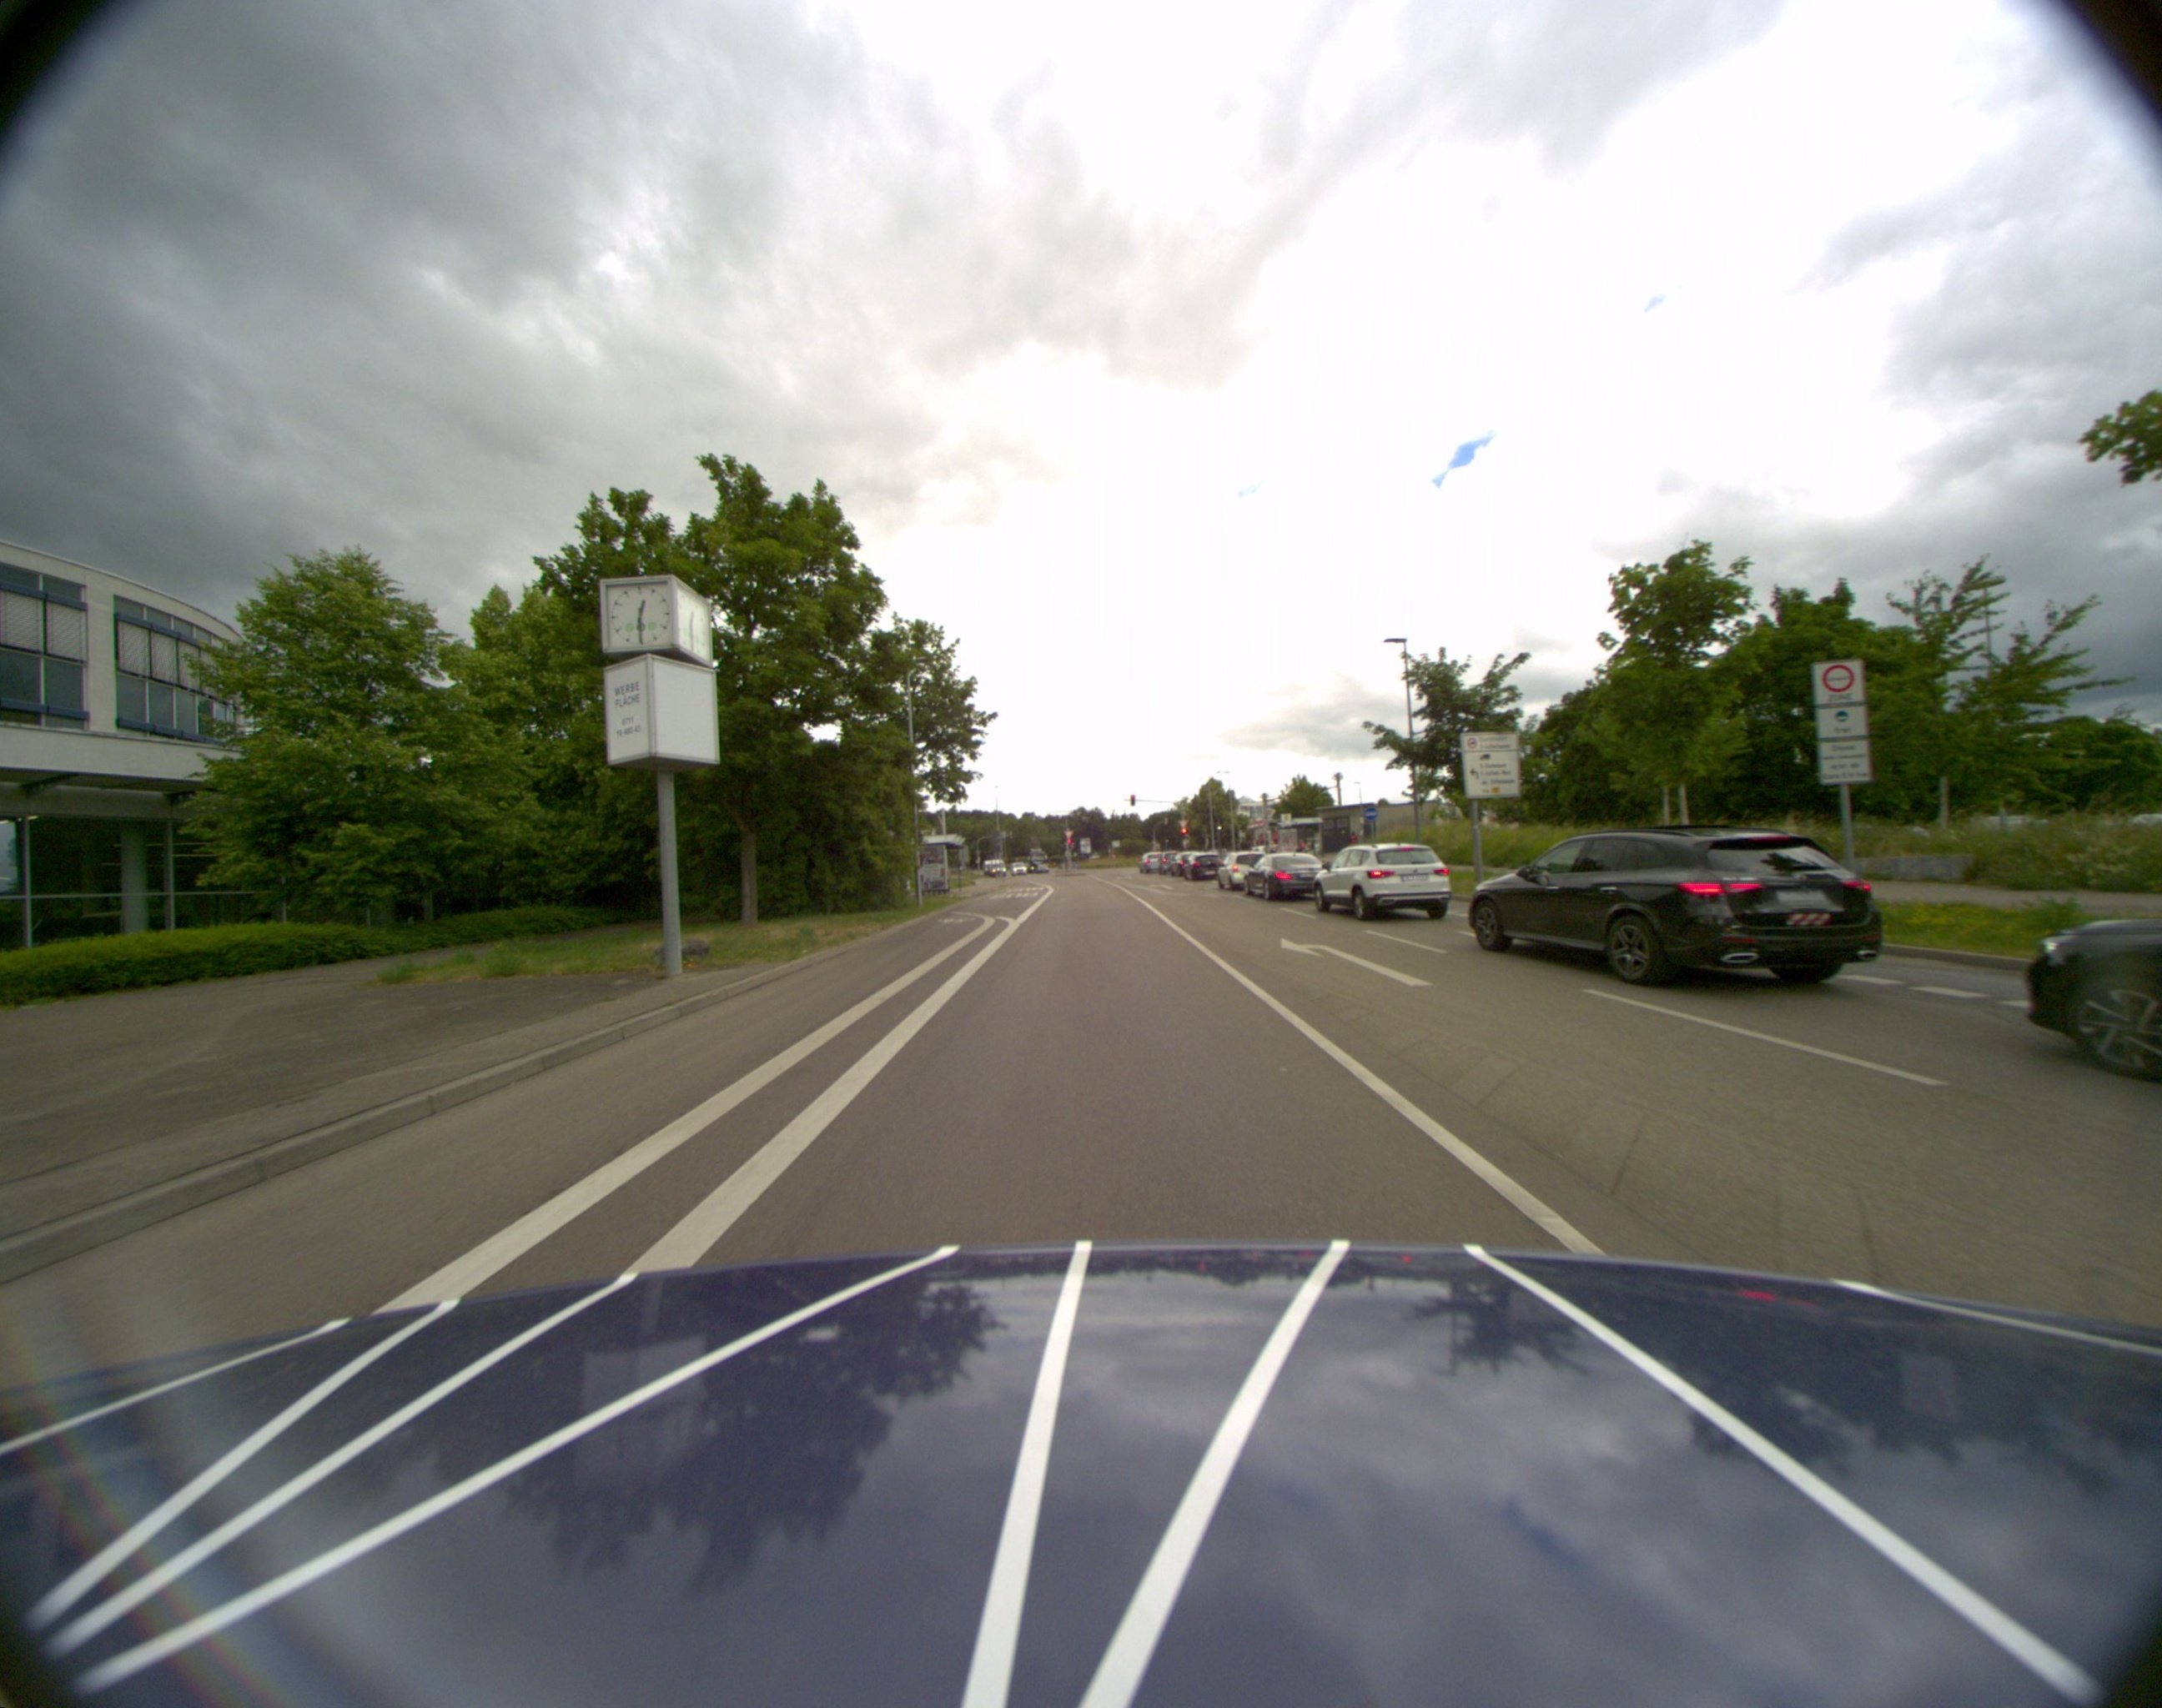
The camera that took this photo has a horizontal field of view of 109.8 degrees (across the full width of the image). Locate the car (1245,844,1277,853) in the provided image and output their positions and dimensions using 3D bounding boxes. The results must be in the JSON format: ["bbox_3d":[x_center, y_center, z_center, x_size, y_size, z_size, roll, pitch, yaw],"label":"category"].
[{"bbox_3d":[26.313,-0.835,110.960,4.224,1.332,1.813,0,-1,-13],"label":"car"}]

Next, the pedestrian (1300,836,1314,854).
[{"bbox_3d":[16.294,-0.634,54.808,0.774,1.219,0.550,-4,0,-9],"label":"pedestrian"}]

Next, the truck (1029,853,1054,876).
[{"bbox_3d":[-6.614,1.799,125.227,3.075,3.497,5.956,-5,0,-11],"label":"truck"}]

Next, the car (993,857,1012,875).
[{"bbox_3d":[-12.211,1.895,117.581,2.228,2.643,5.956,-5,0,-11],"label":"car"}]

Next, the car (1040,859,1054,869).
[{"bbox_3d":[-5.218,1.514,117.393,1.636,1.433,3.863,-4,-1,-10],"label":"car"}]

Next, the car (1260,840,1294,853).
[{"bbox_3d":[29.481,-1.109,114.436,4.456,1.894,2.182,0,-1,-15],"label":"car"}]

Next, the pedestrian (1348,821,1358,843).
[{"bbox_3d":[20.943,-1.691,58.450,0.549,1.660,0.430,-4,0,36],"label":"pedestrian"}]

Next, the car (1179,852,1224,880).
[{"bbox_3d":[6.321,0.606,40.179,1.643,1.324,4.060,-3,0,0],"label":"car"}]

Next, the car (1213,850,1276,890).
[{"bbox_3d":[6.442,0.608,30.351,1.643,1.382,3.762,-3,0,0],"label":"car"}]

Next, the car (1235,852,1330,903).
[{"bbox_3d":[6.239,0.683,24.082,1.643,1.382,4.885,-3,0,0],"label":"car"}]

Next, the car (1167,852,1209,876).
[{"bbox_3d":[6.595,0.598,47.145,1.804,1.324,4.380,-3,0,-2],"label":"car"}]

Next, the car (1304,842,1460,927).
[{"bbox_3d":[6.527,0.610,17.024,1.735,1.576,4.223,-3,0,0],"label":"car"}]

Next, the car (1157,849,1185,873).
[{"bbox_3d":[6.207,0.495,52.589,1.432,1.518,2.774,-3,0,-2],"label":"car"}]

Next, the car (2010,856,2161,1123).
[{"bbox_3d":[6.738,0.739,2.951,1.437,1.449,3.894,-3,0,0],"label":"car"}]

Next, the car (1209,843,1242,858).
[{"bbox_3d":[20.519,-0.501,107.952,4.222,1.769,1.814,-4,0,-8],"label":"car"}]

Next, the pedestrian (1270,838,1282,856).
[{"bbox_3d":[15.313,-0.538,59.754,0.550,1.355,0.774,-4,0,-8],"label":"pedestrian"}]

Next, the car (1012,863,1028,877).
[{"bbox_3d":[-9.456,2.447,117.978,2.120,1.979,4.986,-5,0,-4],"label":"car"}]

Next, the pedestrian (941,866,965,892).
[{"bbox_3d":[-6.324,1.243,37.546,0.777,1.245,0.771,-4,0,-42],"label":"pedestrian"}]

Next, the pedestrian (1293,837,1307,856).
[{"bbox_3d":[16.134,-0.534,56.040,0.774,1.322,0.550,-4,0,-9],"label":"pedestrian"}]

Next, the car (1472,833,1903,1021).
[{"bbox_3d":[6.407,0.654,8.742,1.643,1.576,4.060,-3,0,0],"label":"car"}]

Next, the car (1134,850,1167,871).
[{"bbox_3d":[5.340,0.507,59.066,1.832,1.526,4.218,-3,0,-4],"label":"car"}]
